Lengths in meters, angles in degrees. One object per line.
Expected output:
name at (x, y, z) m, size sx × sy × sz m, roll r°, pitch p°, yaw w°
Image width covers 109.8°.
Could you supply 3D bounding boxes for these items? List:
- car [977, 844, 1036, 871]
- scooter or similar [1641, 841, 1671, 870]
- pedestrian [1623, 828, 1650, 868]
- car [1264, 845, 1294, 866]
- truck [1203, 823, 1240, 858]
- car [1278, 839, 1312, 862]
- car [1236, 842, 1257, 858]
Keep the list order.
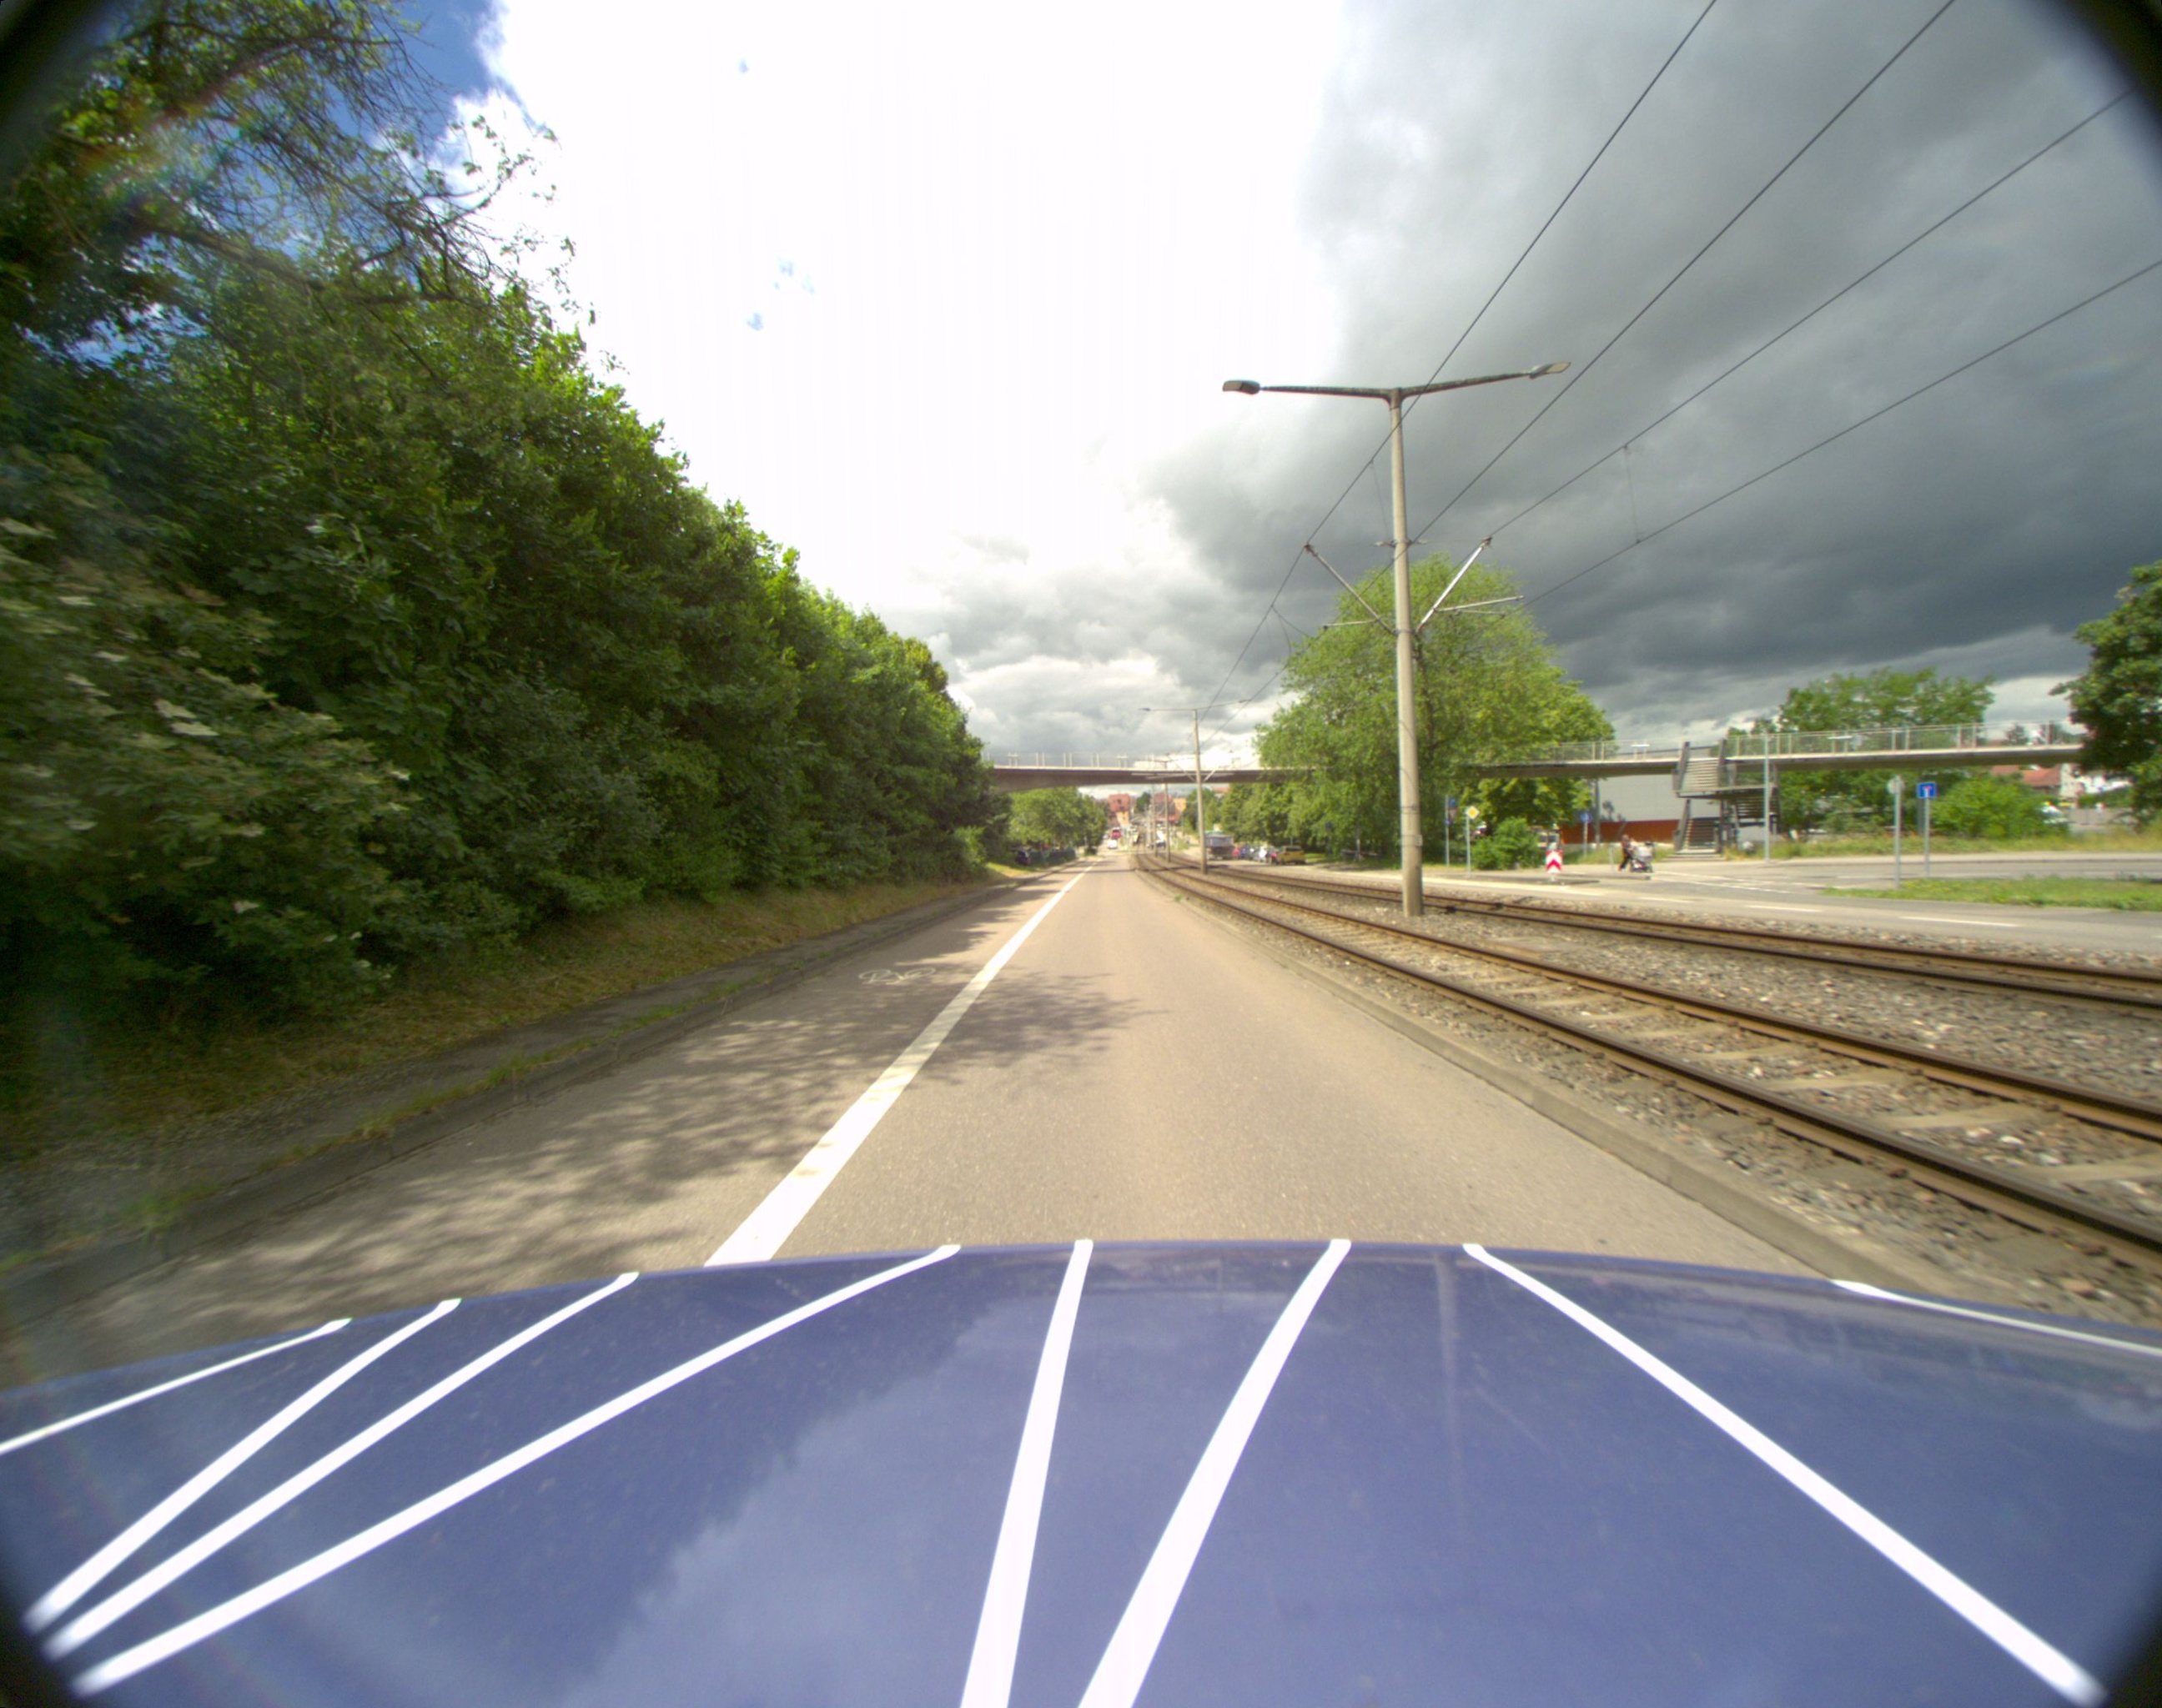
car at (-6.354, 0.287, 65.005) m, size 4.534 × 1.662 × 2.000 m, roll 6°, pitch 4°, yaw 4°
scooter or similar at (24.608, 0.063, 32.532) m, size 0.712 × 1.141 × 0.787 m, roll -4°, pitch 3°, yaw 6°
pedestrian at (24.682, -0.276, 33.762) m, size 0.662 × 1.746 × 0.718 m, roll -4°, pitch 3°, yaw 5°
car at (16.378, 0.108, 62.952) m, size 1.693 × 1.442 × 3.898 m, roll -4°, pitch 3°, yaw 5°
truck at (14.521, -1.498, 79.314) m, size 2.877 × 3.301 × 9.031 m, roll -4°, pitch 2°, yaw 6°
car at (16.292, -0.306, 57.937) m, size 1.693 × 1.442 × 3.898 m, roll -4°, pitch 3°, yaw 5°
car at (17.227, -0.454, 79.281) m, size 1.560 × 1.587 × 4.161 m, roll -1°, pitch 1°, yaw 5°
